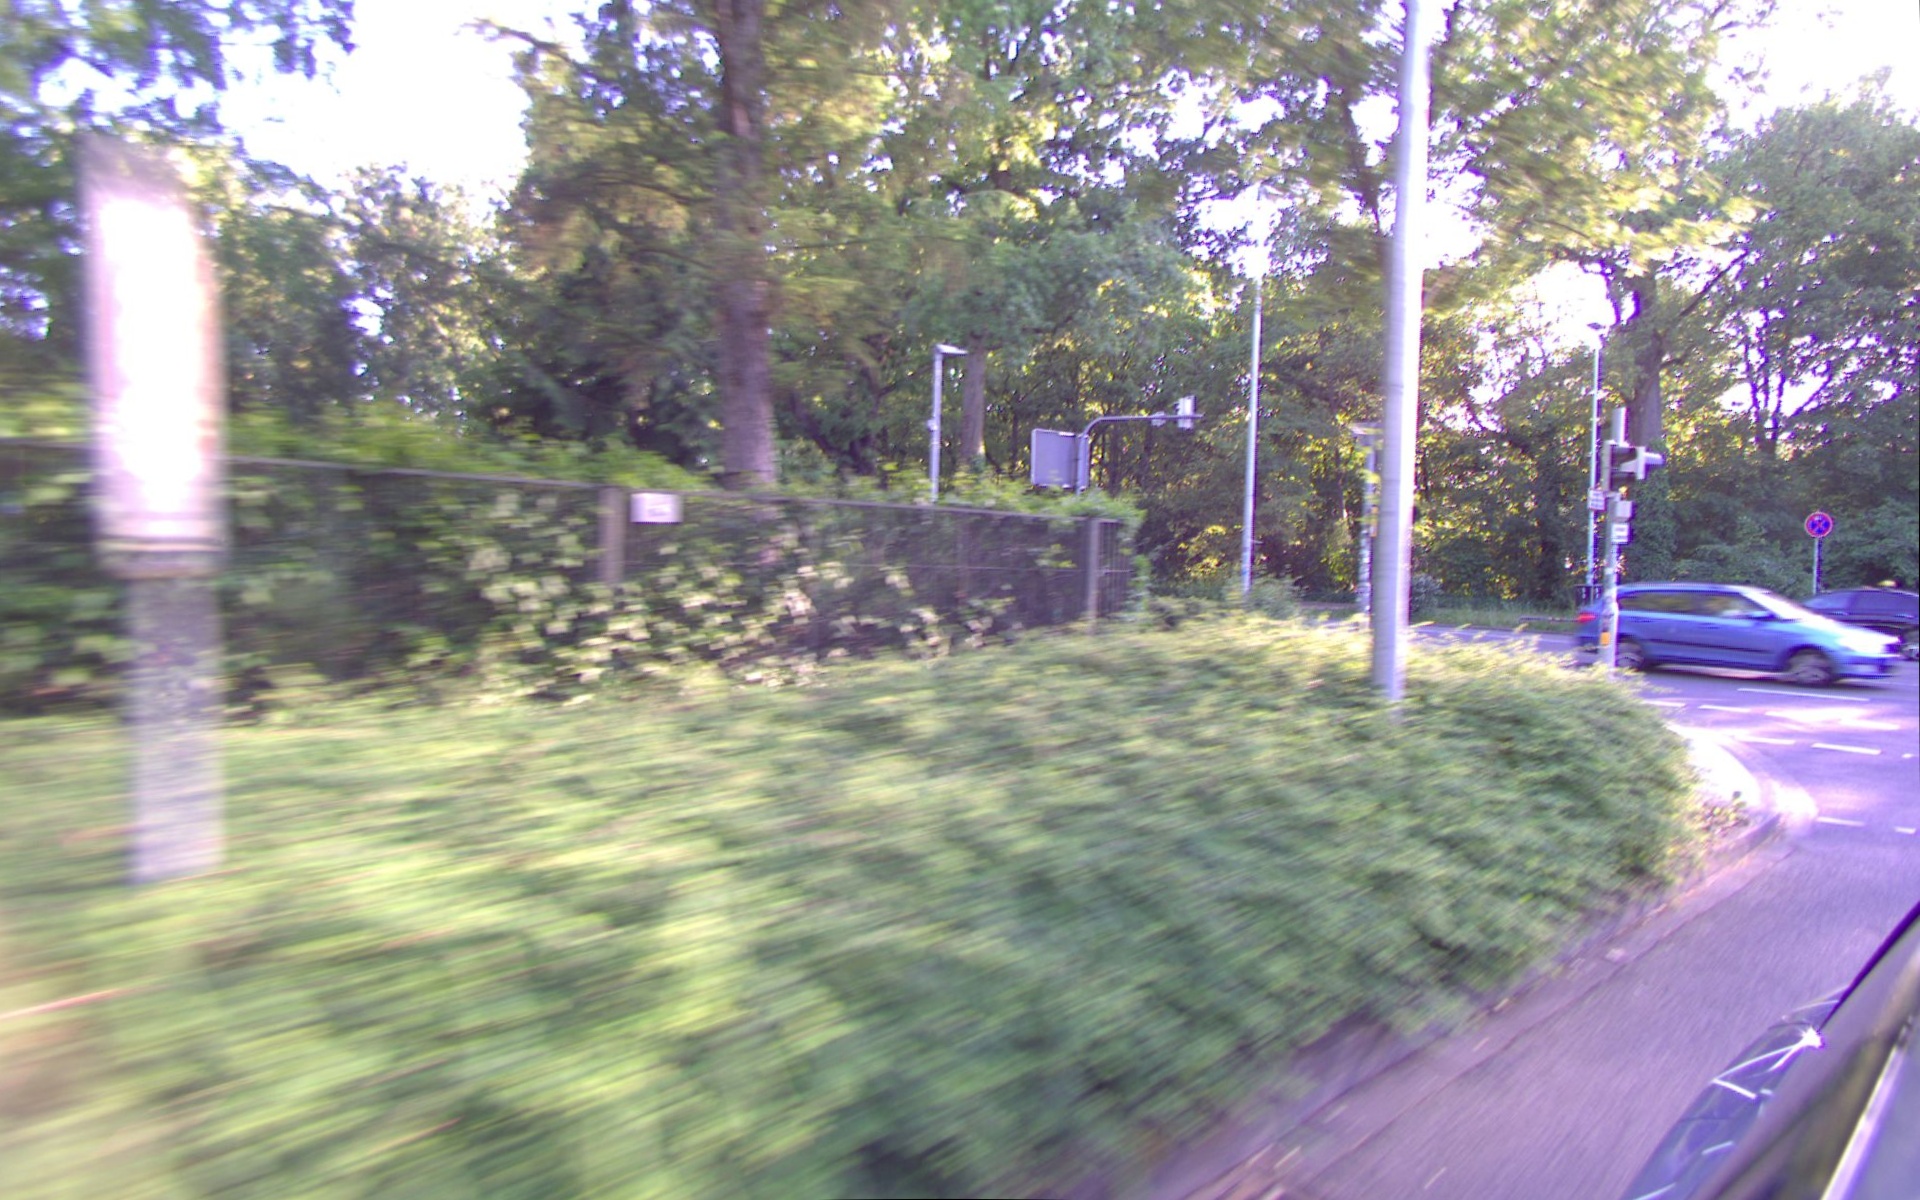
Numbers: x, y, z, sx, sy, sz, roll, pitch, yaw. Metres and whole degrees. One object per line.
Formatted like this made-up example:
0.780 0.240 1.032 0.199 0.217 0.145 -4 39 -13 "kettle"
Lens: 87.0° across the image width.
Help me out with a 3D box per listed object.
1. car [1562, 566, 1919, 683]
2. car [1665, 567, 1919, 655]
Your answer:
12.476 0.273 16.439 1.780 1.599 4.316 -3 3 -38 "car"
18.940 0.192 21.788 1.967 1.655 5.875 0 3 -43 "car"
